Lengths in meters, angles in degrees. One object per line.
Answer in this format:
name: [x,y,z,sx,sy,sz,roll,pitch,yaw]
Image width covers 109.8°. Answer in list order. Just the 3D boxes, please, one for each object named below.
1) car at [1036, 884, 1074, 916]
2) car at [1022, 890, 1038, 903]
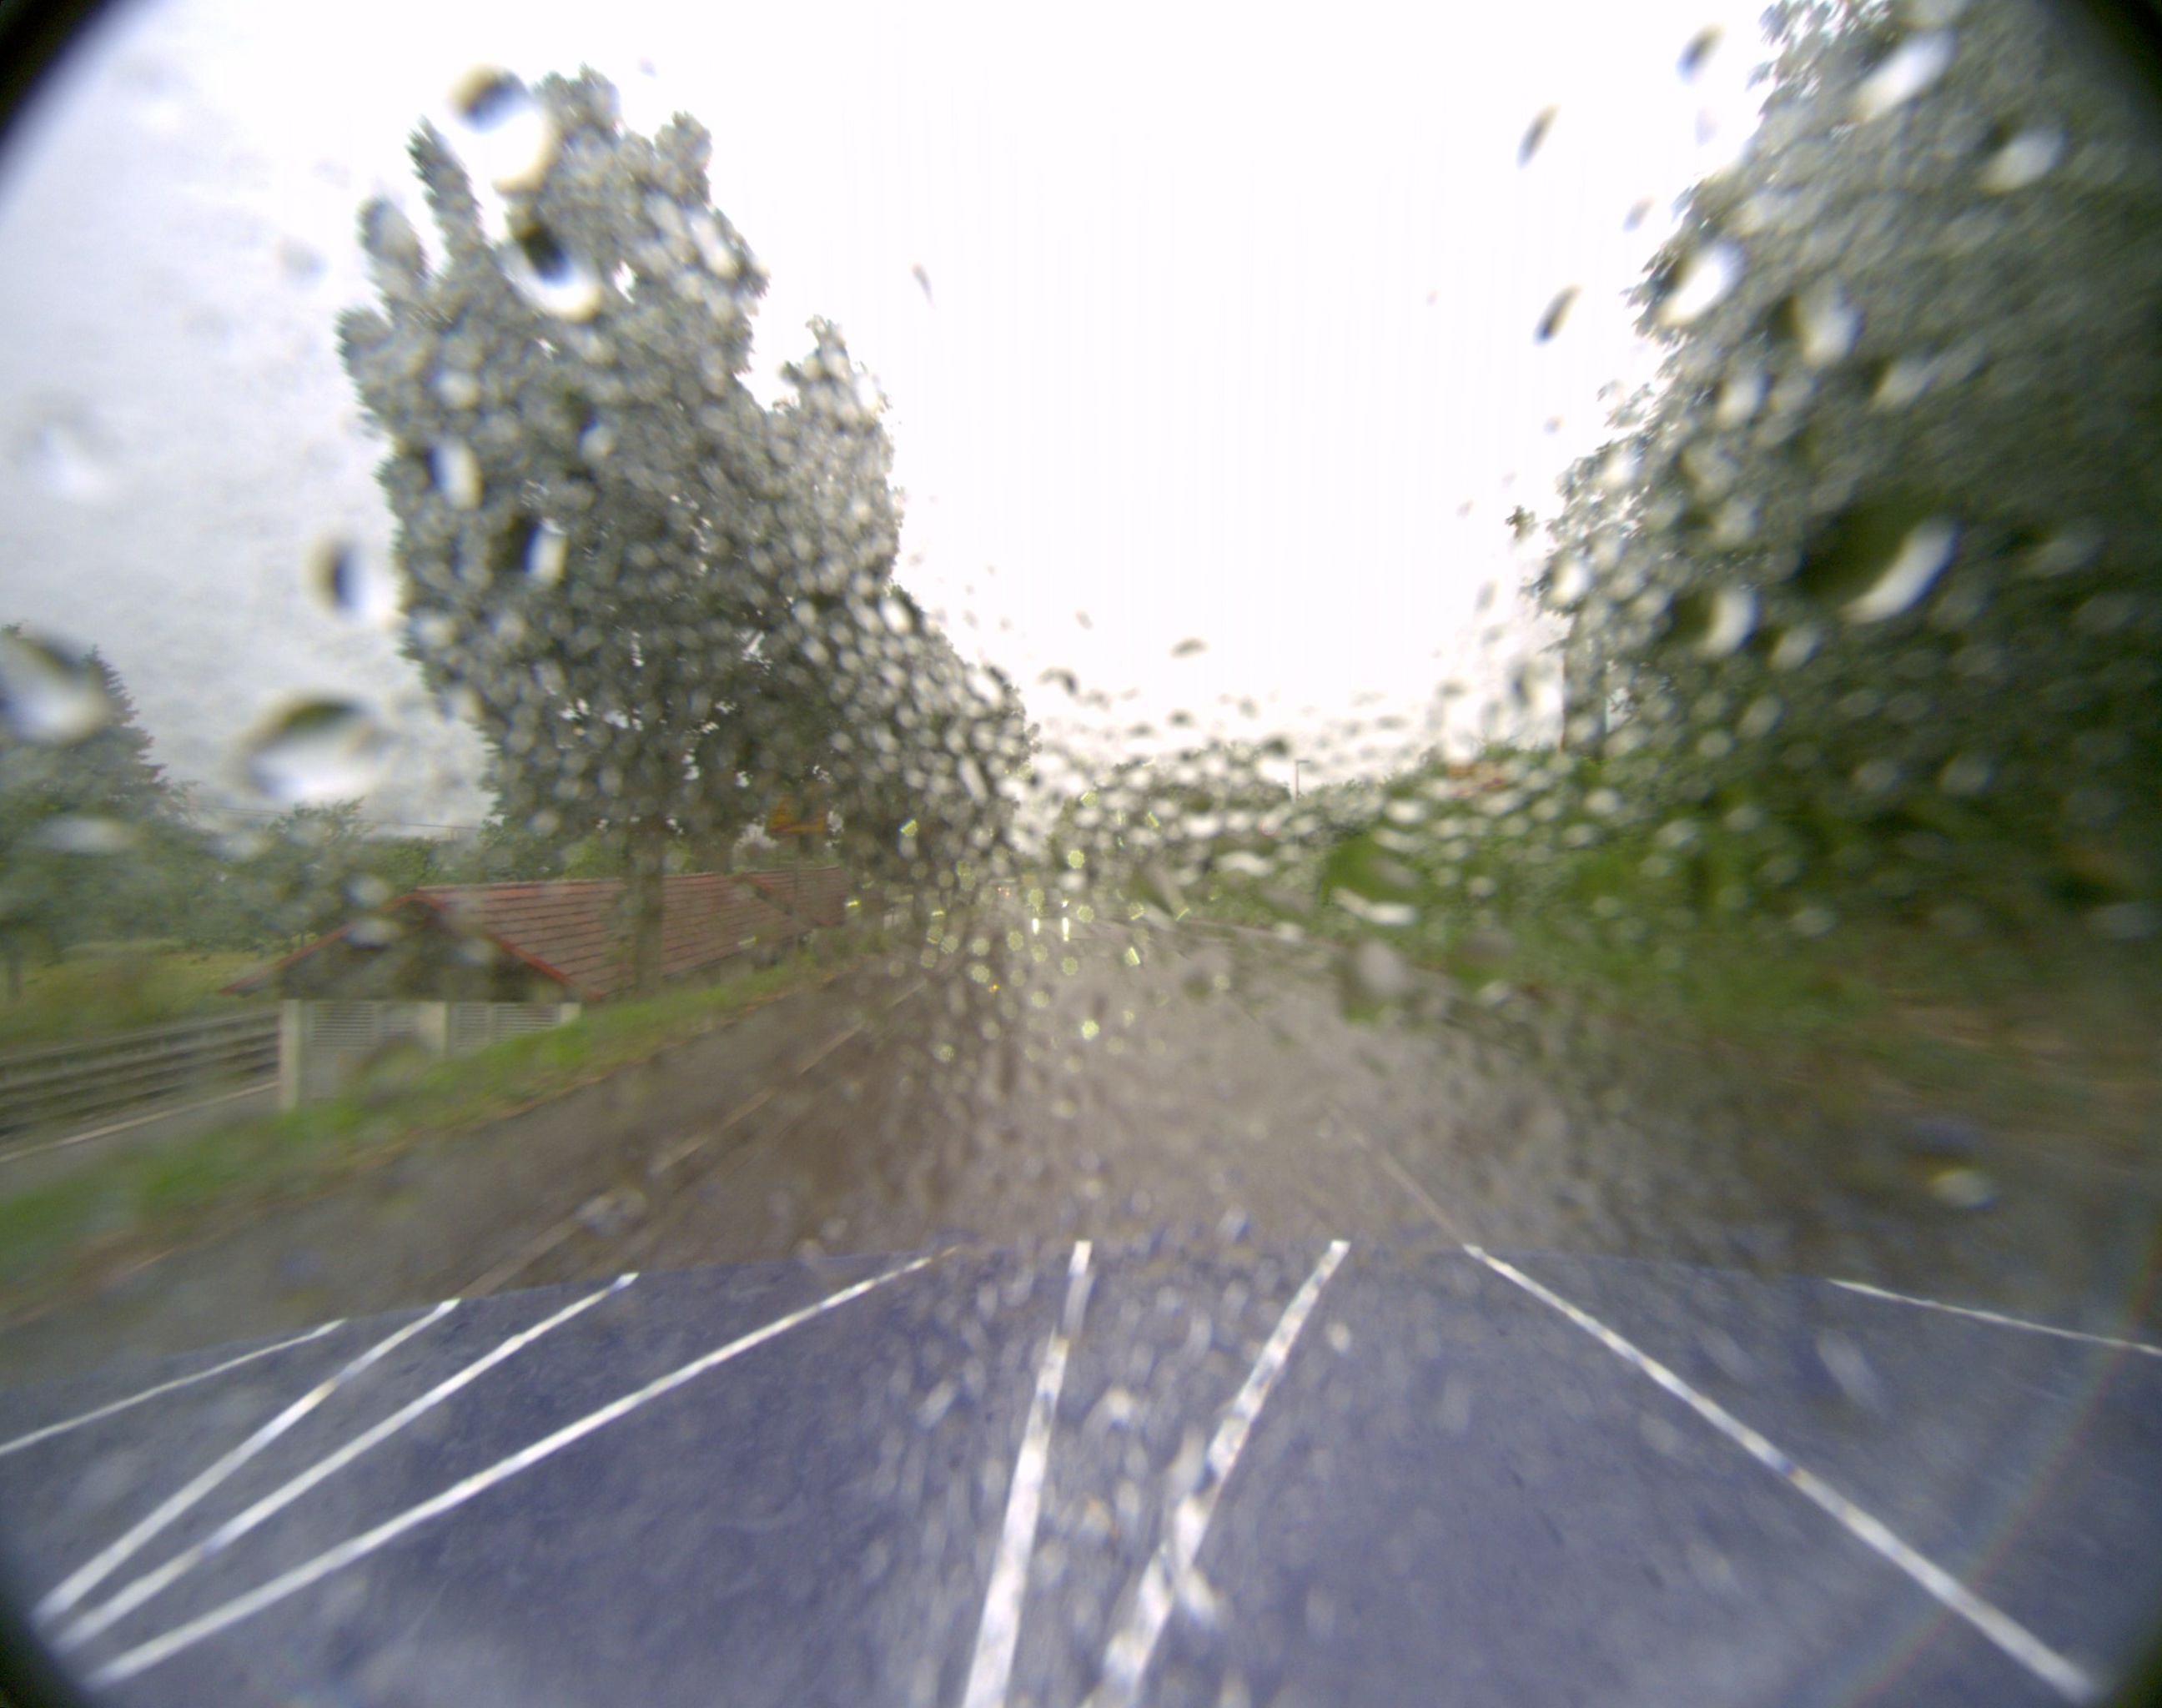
car: [-1.347,2.250,38.072,1.765,1.476,3.791,1,-2,-4]
car: [-8.155,6.789,121.348,2.000,2.001,3.997,1,-2,-10]
